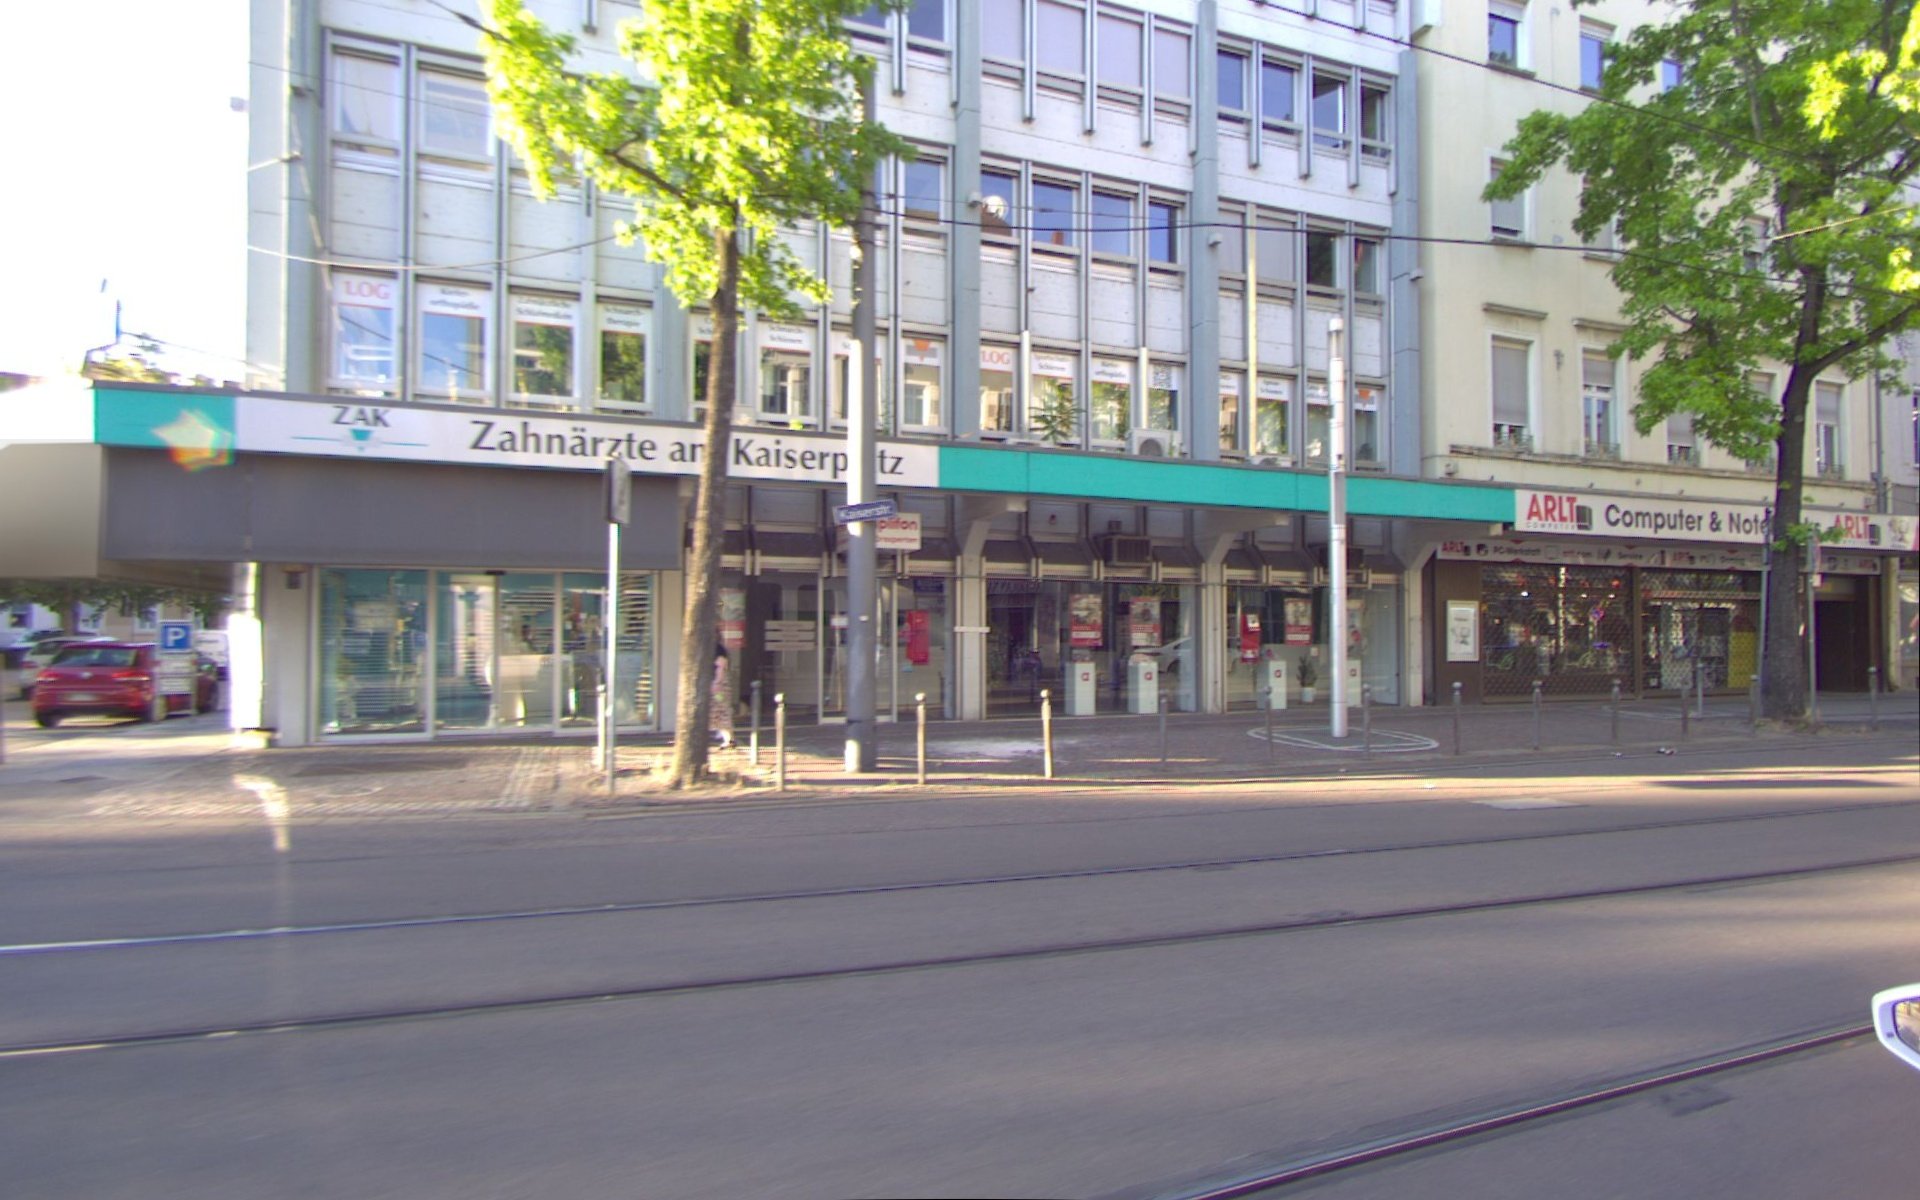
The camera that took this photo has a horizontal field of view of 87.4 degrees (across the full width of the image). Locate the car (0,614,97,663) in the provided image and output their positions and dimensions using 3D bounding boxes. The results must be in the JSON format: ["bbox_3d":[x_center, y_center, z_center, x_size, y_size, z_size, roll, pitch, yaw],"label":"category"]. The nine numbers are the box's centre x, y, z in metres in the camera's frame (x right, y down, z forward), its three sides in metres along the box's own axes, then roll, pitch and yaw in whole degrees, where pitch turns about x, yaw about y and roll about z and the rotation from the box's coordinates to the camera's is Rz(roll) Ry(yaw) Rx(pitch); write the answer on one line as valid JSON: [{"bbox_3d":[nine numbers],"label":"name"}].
[{"bbox_3d":[-40.061,1.680,43.508,3.967,2.040,1.977,2,-2,-40],"label":"car"}]

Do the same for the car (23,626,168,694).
[{"bbox_3d":[-23.481,1.607,27.473,1.973,1.706,3.975,1,-2,-25],"label":"car"}]

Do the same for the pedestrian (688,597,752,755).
[{"bbox_3d":[-3.236,1.008,13.508,0.723,2.040,0.796,1,-2,-19],"label":"pedestrian"}]

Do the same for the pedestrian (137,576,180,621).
[{"bbox_3d":[-38.102,-0.045,47.787,1.102,2.040,1.459,1,-2,-19],"label":"pedestrian"}]

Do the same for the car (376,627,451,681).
[{"bbox_3d":[-21.854,2.150,40.330,1.969,2.040,3.983,1,-2,-19],"label":"car"}]

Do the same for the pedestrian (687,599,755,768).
[{"bbox_3d":[-3.001,1.023,12.605,0.723,2.040,0.796,1,-2,-19],"label":"pedestrian"}]

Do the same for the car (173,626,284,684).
[{"bbox_3d":[-27.256,2.023,37.593,1.967,2.040,3.988,1,-2,-15],"label":"car"}]

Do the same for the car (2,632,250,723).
[{"bbox_3d":[-15.379,1.369,18.852,1.993,1.504,3.990,1,-2,-14],"label":"car"}]
